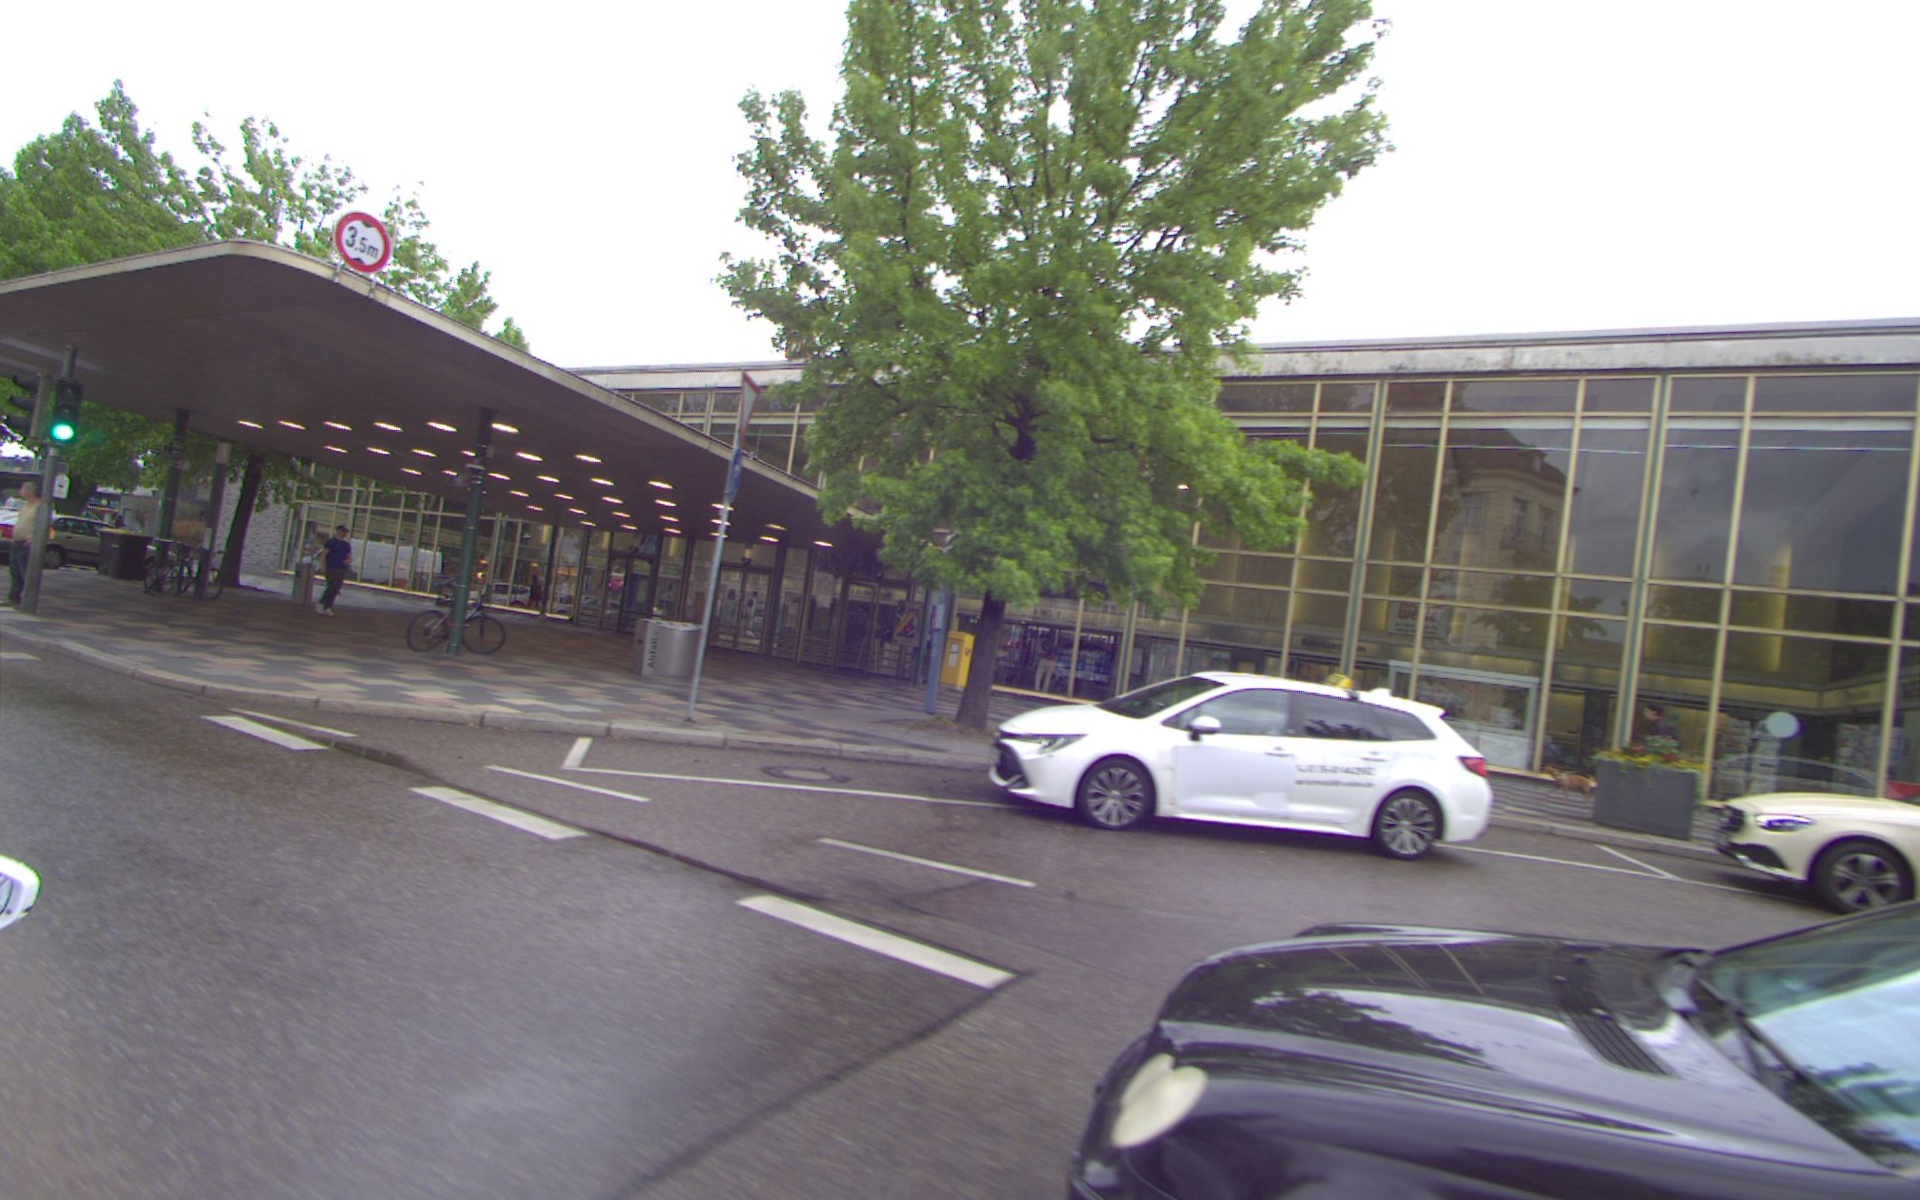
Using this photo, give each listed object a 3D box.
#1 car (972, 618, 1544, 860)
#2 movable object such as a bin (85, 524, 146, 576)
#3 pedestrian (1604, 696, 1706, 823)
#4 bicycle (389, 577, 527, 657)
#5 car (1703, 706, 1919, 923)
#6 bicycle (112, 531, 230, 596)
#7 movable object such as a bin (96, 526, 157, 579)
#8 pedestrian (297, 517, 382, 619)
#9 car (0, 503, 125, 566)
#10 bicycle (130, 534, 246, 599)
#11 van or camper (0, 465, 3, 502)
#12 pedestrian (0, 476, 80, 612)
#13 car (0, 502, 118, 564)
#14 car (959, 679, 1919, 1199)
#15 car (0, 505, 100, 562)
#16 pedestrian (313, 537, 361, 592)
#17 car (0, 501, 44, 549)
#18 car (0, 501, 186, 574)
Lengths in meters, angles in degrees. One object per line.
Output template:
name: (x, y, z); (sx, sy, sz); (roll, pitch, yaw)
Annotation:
car: (2.624, 1.227, 9.379); (4.694, 1.564, 1.762); (7, -1, -8)
movable object such as a bin: (-19.839, -1.169, 23.637); (0.735, 1.109, 0.753); (6, 0, 20)
pedestrian: (9.963, 2.270, 14.440); (0.784, 1.647, 0.721); (6, 1, -12)
bicycle: (-7.489, 0.280, 15.103); (0.413, 1.069, 1.829); (7, 0, 31)
car: (9.900, 2.154, 8.912); (4.869, 1.619, 1.999); (7, 0, 24)
bicycle: (-15.072, -0.671, 19.281); (0.412, 1.069, 1.834); (6, 0, 14)
movable object such as a bin: (-19.042, -1.090, 22.991); (0.735, 1.080, 0.753); (6, 0, 23)
pedestrian: (-12.244, -0.629, 19.853); (1.170, 1.857, 0.857); (6, 0, 32)
car: (-25.857, -1.869, 27.932); (1.830, 1.375, 4.003); (7, -2, 2)
bicycle: (-14.644, -0.611, 19.143); (0.412, 1.069, 1.834); (6, 0, 14)
van or camper: (-39.453, -4.142, 37.079); (2.157, 2.797, 5.968); (6, 0, 5)
pedestrian: (-12.988, -0.775, 13.963); (0.821, 1.768, 0.748); (6, 0, 24)
car: (-27.742, -2.058, 29.816); (1.829, 1.460, 4.004); (7, -2, 6)
car: (2.327, 1.161, 1.585); (4.374, 1.484, 1.698); (6, 0, 28)
car: (-30.168, -2.216, 32.001); (1.829, 1.460, 4.004); (7, -2, 6)
pedestrian: (-19.307, -1.089, 31.179); (0.799, 1.578, 0.867); (6, 1, 25)
car: (-32.721, -2.673, 32.742); (1.829, 1.460, 4.004); (7, -2, 6)
car: (-22.822, -1.601, 26.002); (1.805, 1.340, 4.204); (6, -2, 12)
